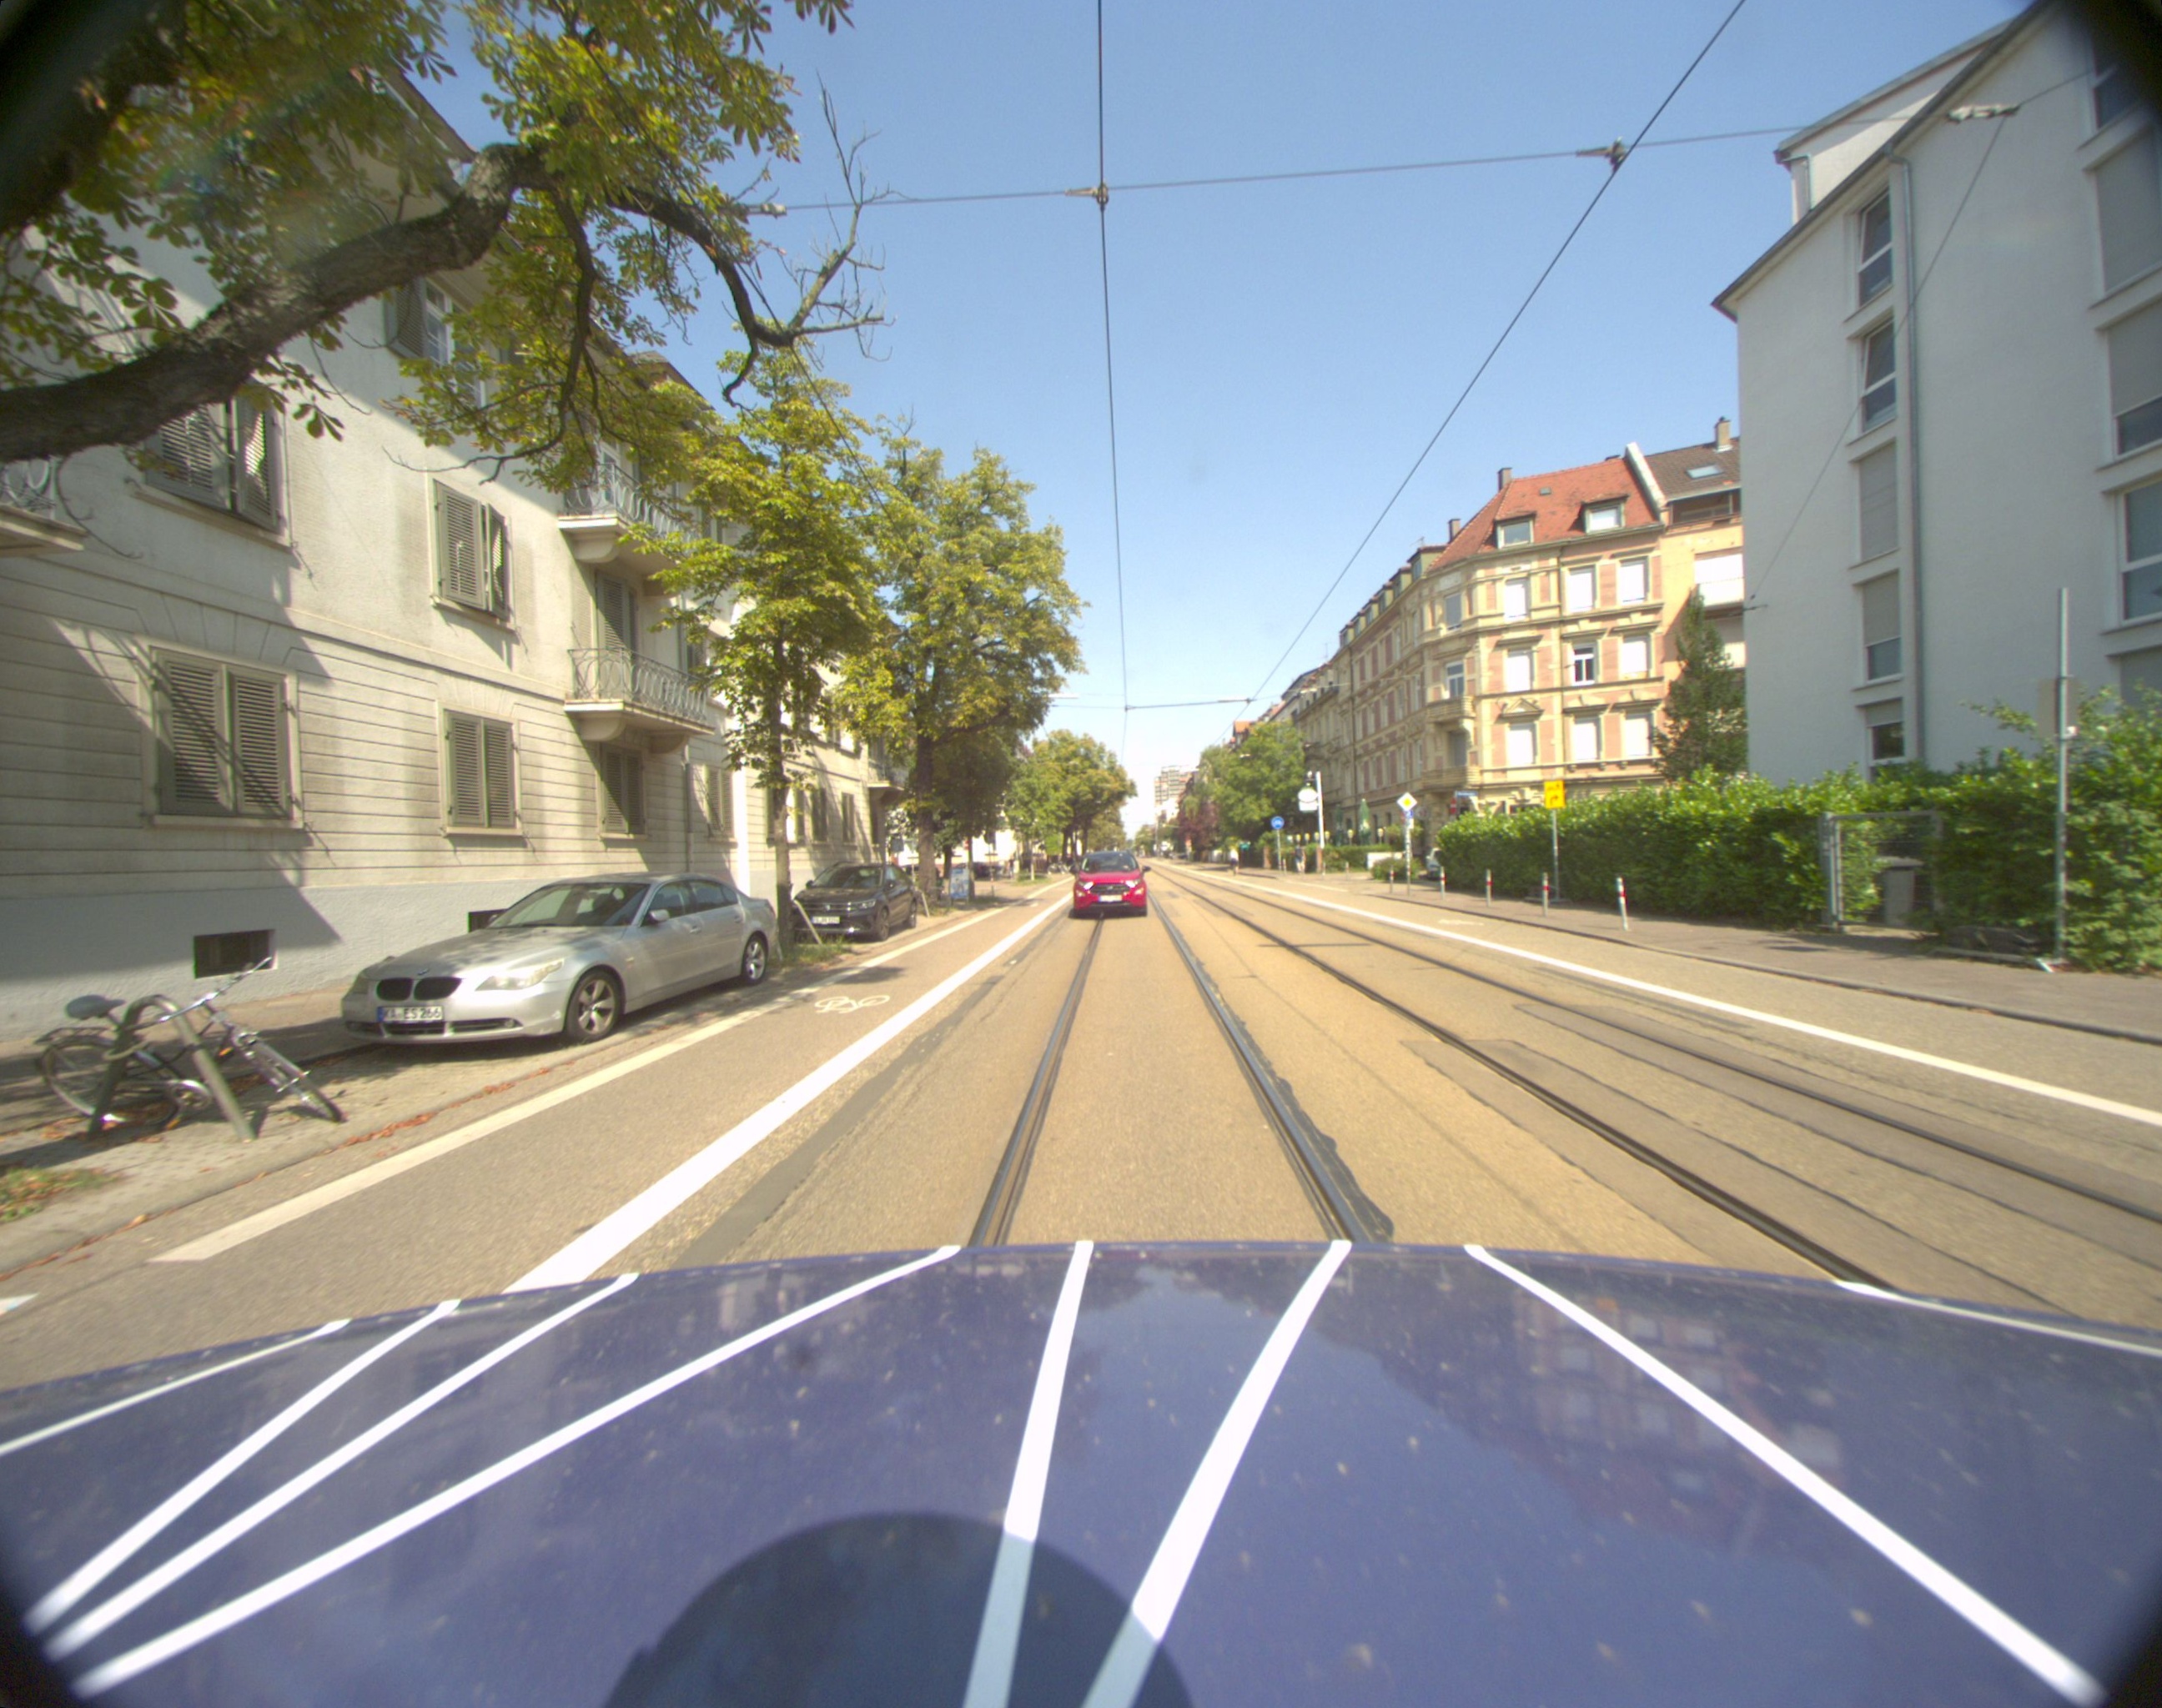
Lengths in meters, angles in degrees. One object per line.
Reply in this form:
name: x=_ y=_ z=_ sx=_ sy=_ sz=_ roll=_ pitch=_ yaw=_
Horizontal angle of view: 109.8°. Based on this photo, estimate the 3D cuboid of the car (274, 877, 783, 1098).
car: x=-5.029 y=1.069 z=8.012 sx=1.787 sy=1.442 sz=4.751 roll=-1 pitch=0 yaw=1

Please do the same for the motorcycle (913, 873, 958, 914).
motorcycle: x=-4.506 y=1.190 z=23.680 sx=0.829 sy=1.105 sz=2.498 roll=-2 pitch=0 yaw=1

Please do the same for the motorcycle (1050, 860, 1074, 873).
motorcycle: x=-1.620 y=1.047 z=65.450 sx=1.999 sy=1.009 sz=0.797 roll=-2 pitch=1 yaw=3

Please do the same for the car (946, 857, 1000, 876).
car: x=-8.981 y=1.066 z=63.110 sx=3.990 sy=1.435 sz=1.978 roll=-2 pitch=0 yaw=26

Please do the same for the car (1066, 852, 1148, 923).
car: x=0.759 y=0.752 z=19.282 sx=1.815 sy=1.542 sz=4.022 roll=-3 pitch=0 yaw=5

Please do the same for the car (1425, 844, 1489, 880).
car: x=17.134 y=0.346 z=34.518 sx=1.994 sy=1.480 sz=4.152 roll=-1 pitch=0 yaw=34

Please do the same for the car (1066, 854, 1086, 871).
car: x=-0.438 y=0.763 z=71.717 sx=1.598 sy=1.489 sz=4.053 roll=-1 pitch=0 yaw=4

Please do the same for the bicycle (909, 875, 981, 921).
bicycle: x=-3.622 y=1.174 z=20.302 sx=1.759 sy=1.116 sz=0.656 roll=-2 pitch=1 yaw=3

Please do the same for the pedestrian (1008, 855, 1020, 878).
pedestrian: x=-5.268 y=0.951 z=59.890 sx=0.749 sy=1.775 sz=0.632 roll=-2 pitch=1 yaw=4

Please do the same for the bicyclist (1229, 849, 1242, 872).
bicyclist: x=9.781 y=0.384 z=48.079 sx=0.657 sy=1.420 sz=0.974 roll=-2 pitch=1 yaw=2

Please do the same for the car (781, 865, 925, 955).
car: x=-4.515 y=1.031 z=15.755 sx=1.667 sy=1.498 sz=4.434 roll=-1 pitch=0 yaw=-1

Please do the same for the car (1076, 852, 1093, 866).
car: x=0.410 y=0.596 z=87.105 sx=1.598 sy=1.489 sz=4.053 roll=-2 pitch=0 yaw=4

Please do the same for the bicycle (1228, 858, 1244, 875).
bicycle: x=9.808 y=0.781 z=48.018 sx=0.642 sy=1.070 sz=1.915 roll=-2 pitch=0 yaw=2

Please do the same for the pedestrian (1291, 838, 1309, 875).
pedestrian: x=11.996 y=0.122 z=41.582 sx=0.657 sy=2.002 sz=0.974 roll=-2 pitch=1 yaw=-1

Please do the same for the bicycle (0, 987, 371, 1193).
bicycle: x=-5.386 y=1.326 z=4.421 sx=1.926 sy=0.947 sz=0.721 roll=-2 pitch=1 yaw=7

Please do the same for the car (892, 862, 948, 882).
car: x=-12.433 y=1.366 z=58.801 sx=3.989 sy=1.422 sz=1.841 roll=-2 pitch=0 yaw=31
